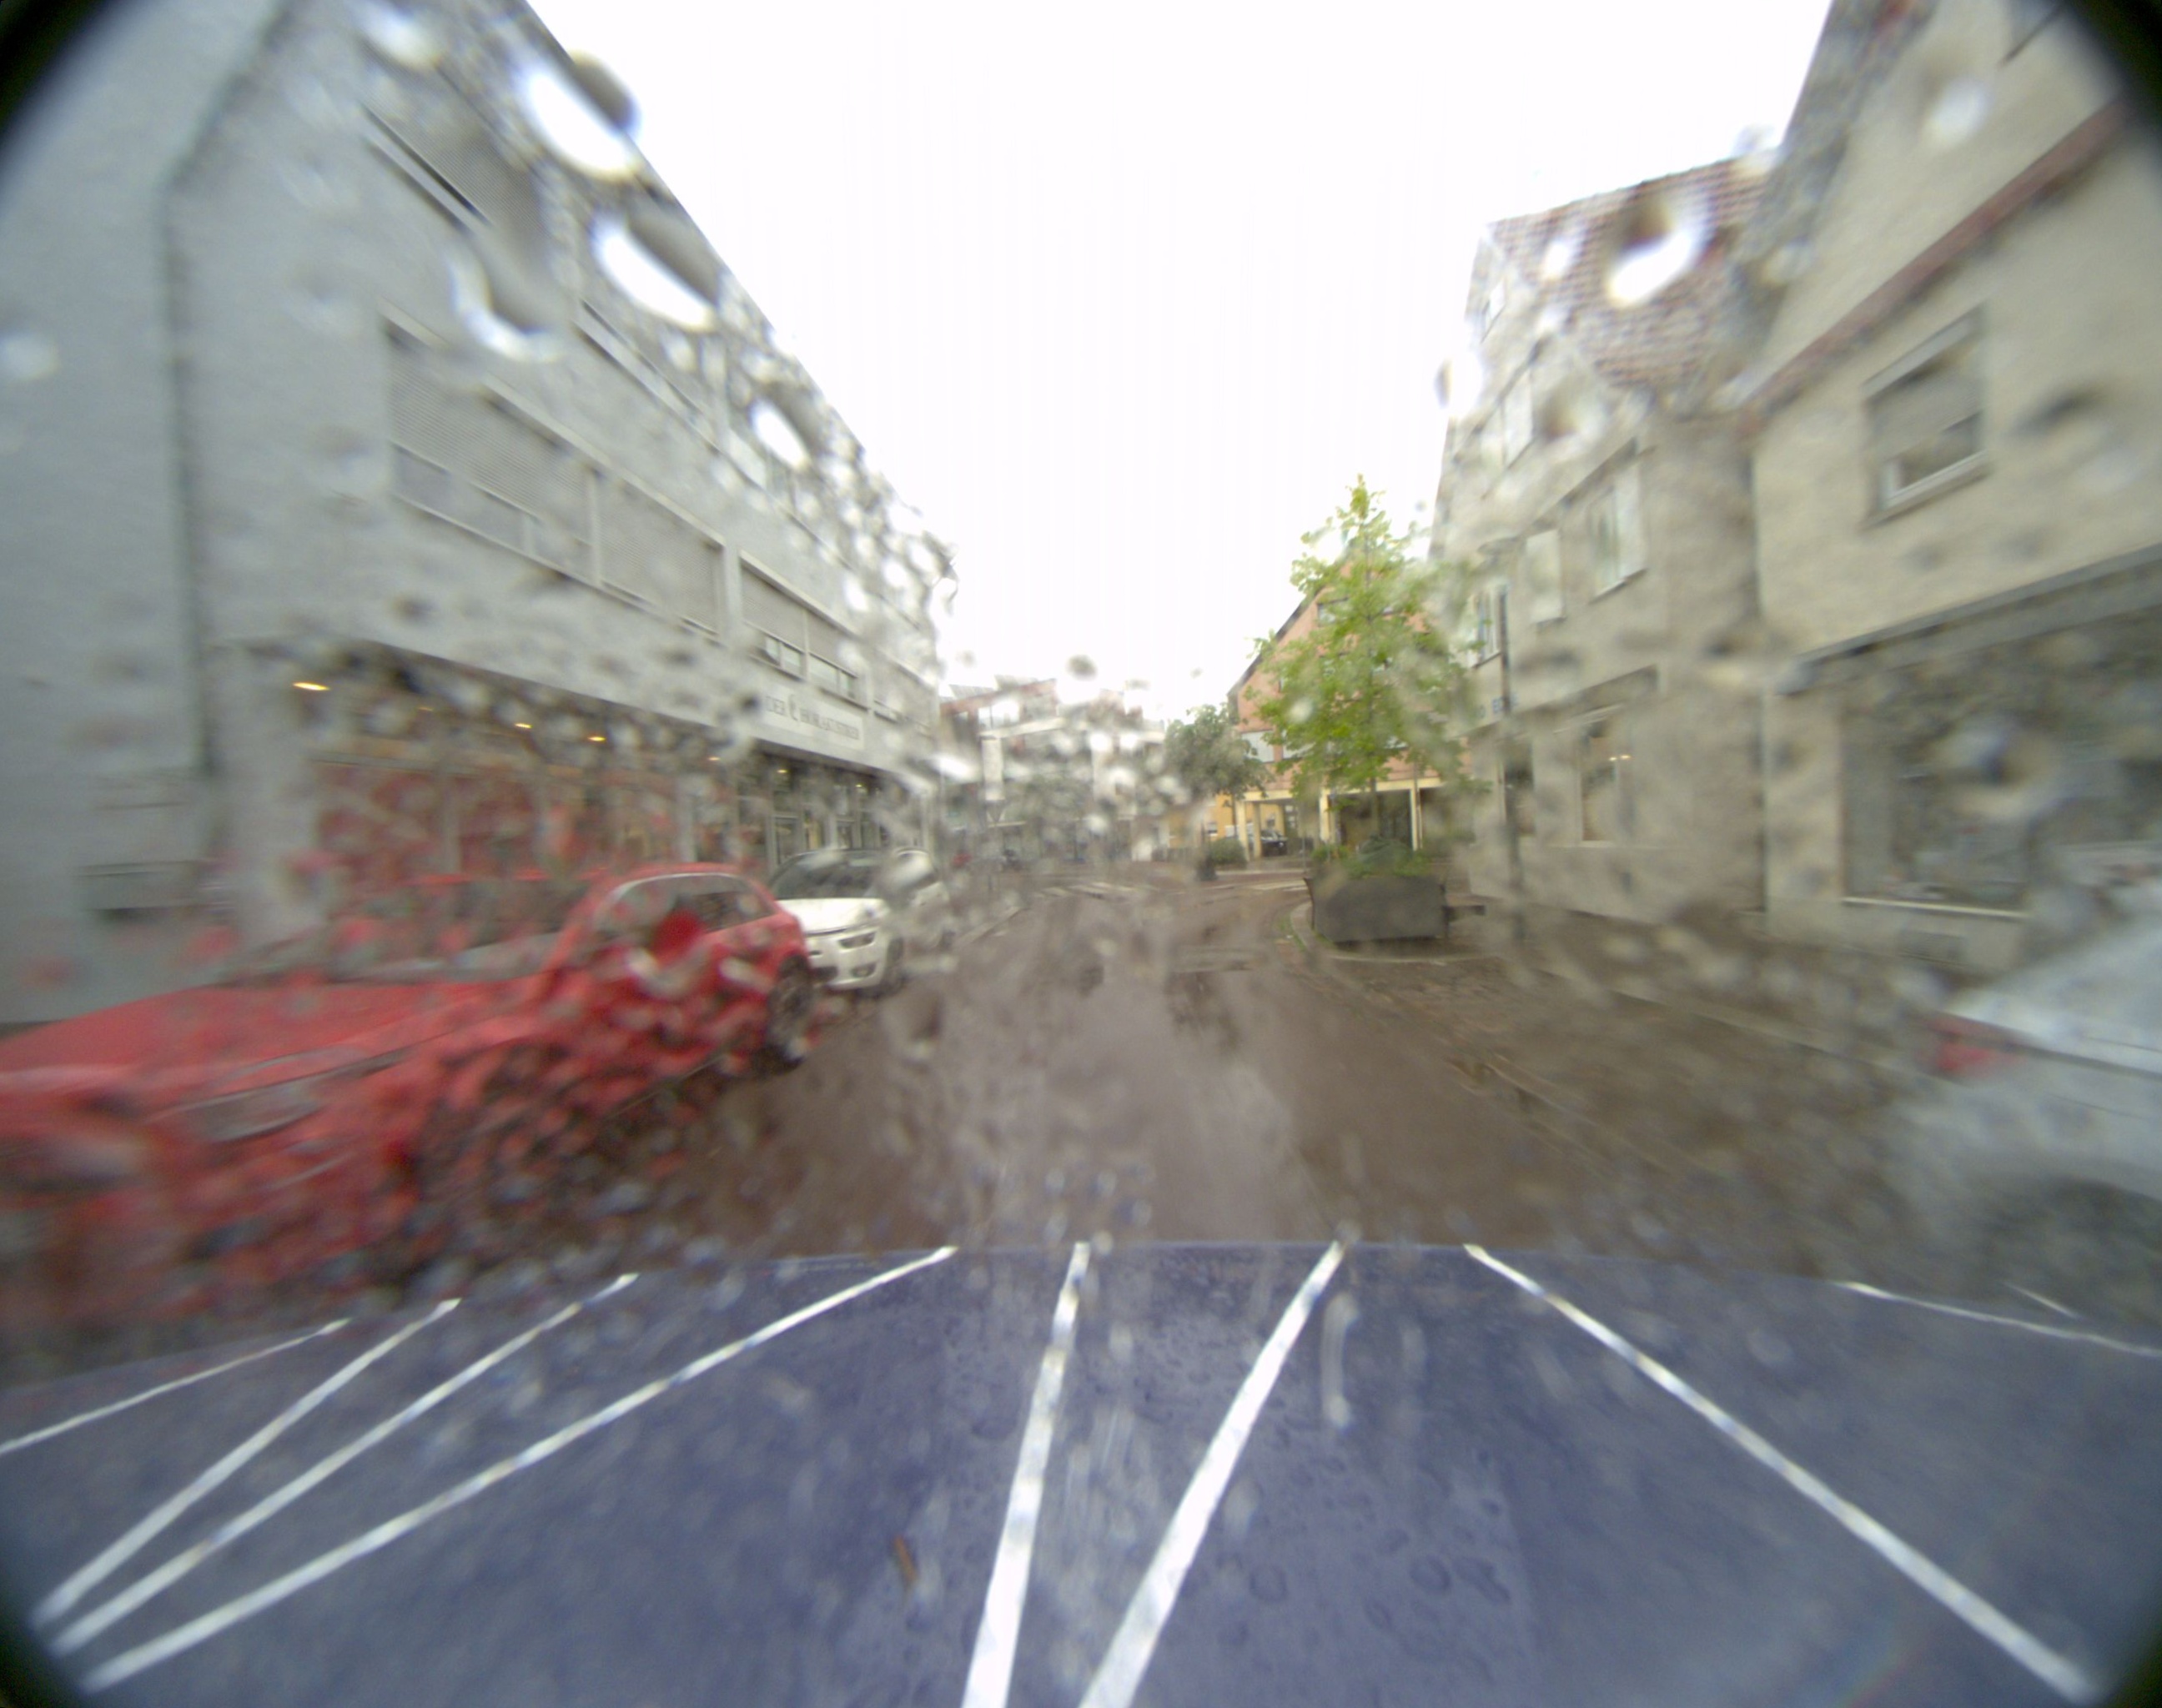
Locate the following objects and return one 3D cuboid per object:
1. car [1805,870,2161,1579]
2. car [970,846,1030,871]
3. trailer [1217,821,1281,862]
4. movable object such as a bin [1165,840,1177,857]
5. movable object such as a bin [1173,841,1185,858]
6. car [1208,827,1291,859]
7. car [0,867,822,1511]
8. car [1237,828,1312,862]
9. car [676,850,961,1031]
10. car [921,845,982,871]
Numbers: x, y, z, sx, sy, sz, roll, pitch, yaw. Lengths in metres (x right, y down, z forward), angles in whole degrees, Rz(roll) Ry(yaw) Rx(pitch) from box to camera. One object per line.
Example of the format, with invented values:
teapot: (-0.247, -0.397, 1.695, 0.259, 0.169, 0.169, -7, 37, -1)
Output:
car: (3.351, 0.767, 0.359, 1.855, 1.443, 4.071, -4, 0, -6)
car: (-5.157, 0.272, 48.026, 3.575, 1.428, 1.683, -1, 3, 40)
trailer: (9.805, -0.741, 44.420, 3.086, 2.075, 1.839, -6, -1, 29)
movable object such as a bin: (6.736, -0.388, 56.927, 0.630, 1.226, 0.524, -1, 4, 39)
movable object such as a bin: (7.455, -0.363, 57.635, 0.630, 1.226, 0.524, -1, 4, 39)
car: (9.221, -0.617, 41.656, 3.990, 1.500, 1.839, -2, 3, 29)
car: (-3.029, 0.960, 3.978, 1.792, 1.460, 3.948, -3, 2, 2)
car: (11.917, -0.548, 46.865, 3.991, 1.661, 1.839, -6, -1, 29)
car: (-2.847, 0.819, 9.456, 1.792, 1.590, 4.440, -3, 1, 2)
car: (-8.748, 0.262, 51.261, 3.910, 1.546, 1.806, -1, 3, 37)
